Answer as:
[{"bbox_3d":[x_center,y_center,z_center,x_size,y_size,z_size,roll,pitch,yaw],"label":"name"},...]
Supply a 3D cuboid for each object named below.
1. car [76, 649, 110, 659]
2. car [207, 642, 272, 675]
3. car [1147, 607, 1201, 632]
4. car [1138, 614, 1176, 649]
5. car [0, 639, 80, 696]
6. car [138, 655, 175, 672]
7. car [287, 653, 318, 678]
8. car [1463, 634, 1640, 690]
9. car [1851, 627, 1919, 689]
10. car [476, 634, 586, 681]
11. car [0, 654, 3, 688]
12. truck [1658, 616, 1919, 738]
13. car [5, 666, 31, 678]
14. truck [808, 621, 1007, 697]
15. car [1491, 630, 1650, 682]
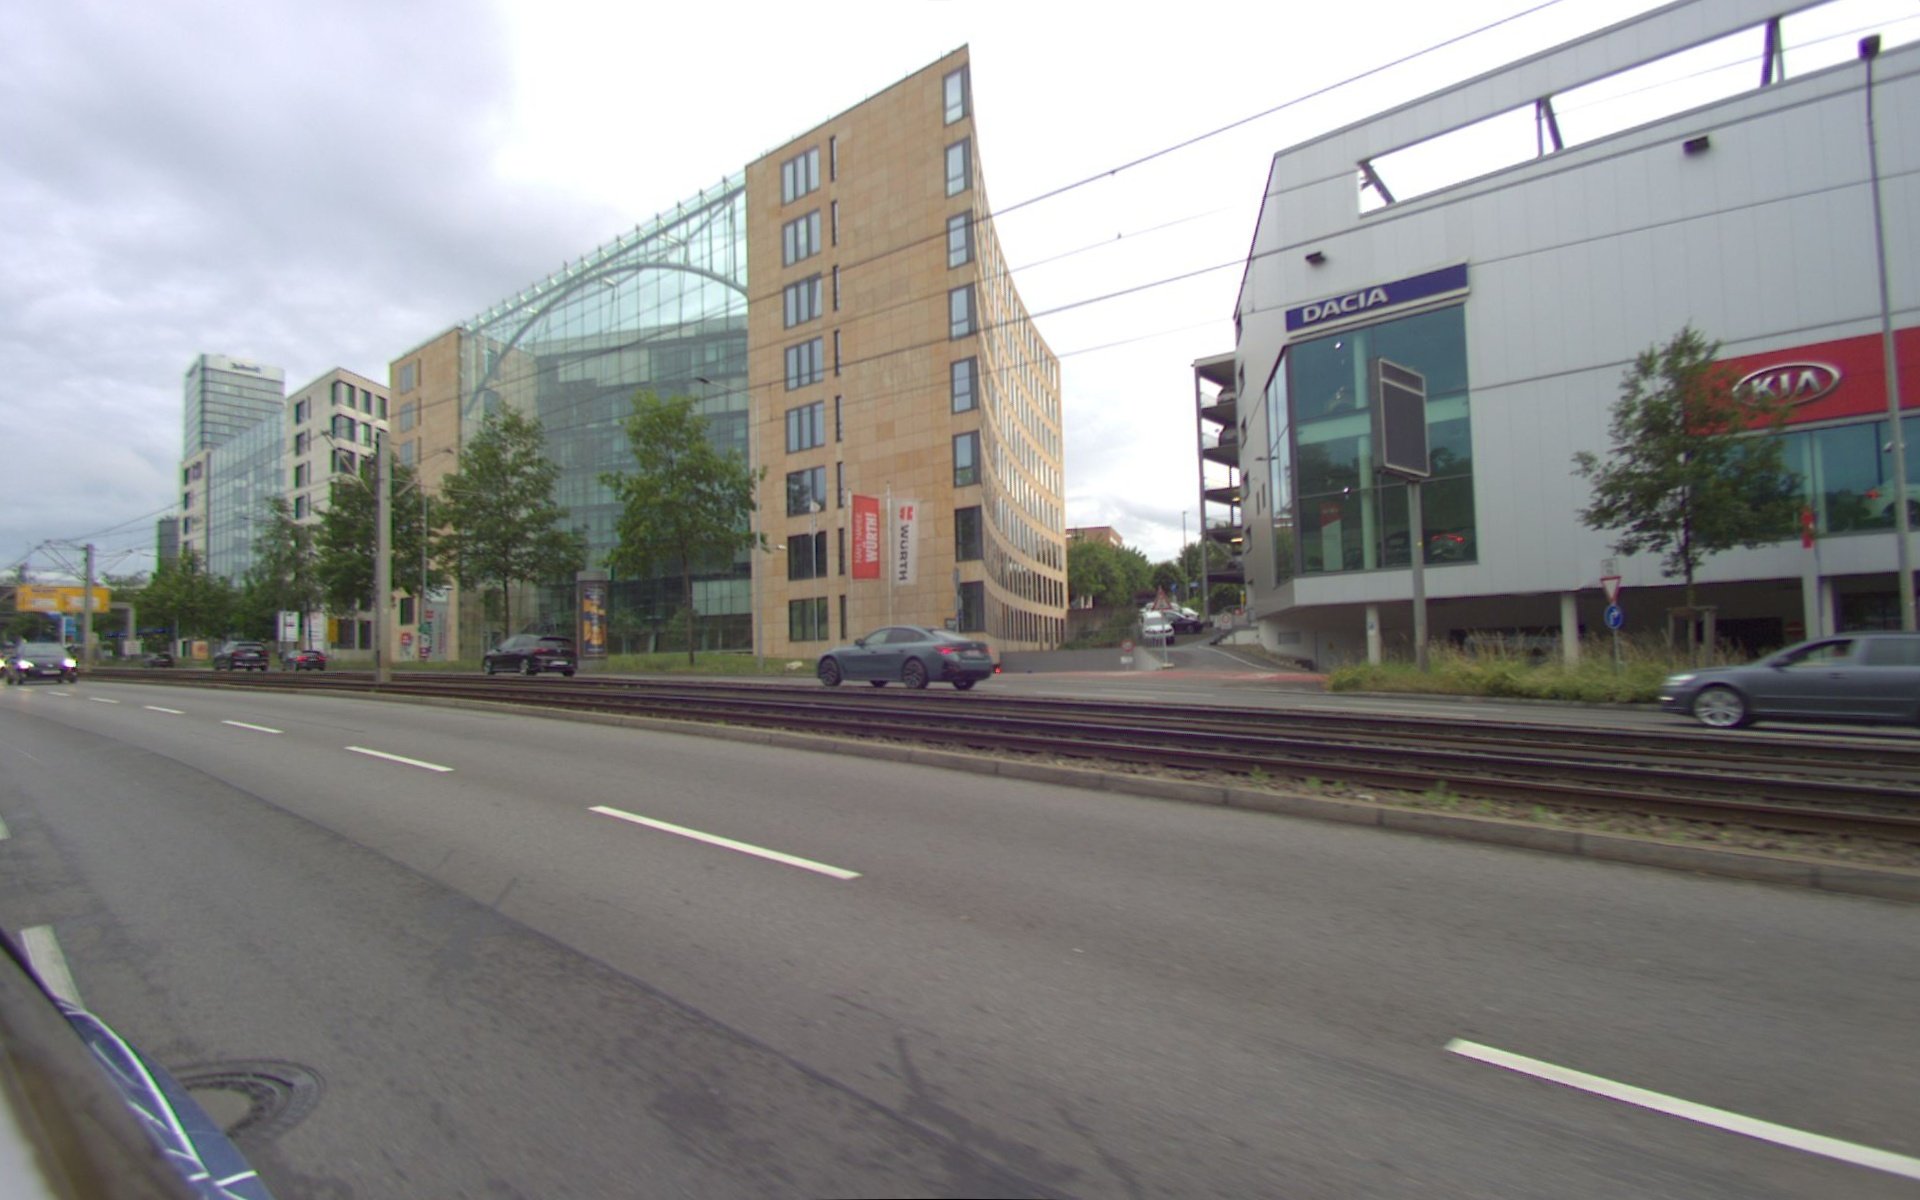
[{"bbox_3d":[-153.627,9.582,179.315,1.884,1.515,4.307,-1,-1,42],"label":"car"},{"bbox_3d":[-39.465,3.162,55.391,4.381,1.628,1.787,-1,-1,39],"label":"car"},{"bbox_3d":[16.225,1.489,76.836,3.958,1.776,1.876,1,0,12],"label":"car"},{"bbox_3d":[11.629,1.850,60.015,1.861,1.908,3.992,1,0,7],"label":"car"},{"bbox_3d":[-34.186,2.425,37.497,4.375,1.883,1.771,-1,-1,41],"label":"car"},{"bbox_3d":[-76.637,6.097,96.504,4.426,1.497,1.822,-4,-7,40],"label":"car"},{"bbox_3d":[-44.205,4.367,68.072,1.645,1.473,4.250,0,-1,-33],"label":"car"},{"bbox_3d":[20.209,2.071,34.697,4.937,1.738,1.973,-2,-1,41],"label":"car"},{"bbox_3d":[31.974,1.856,32.444,4.935,1.925,1.974,-2,-1,39],"label":"car"},{"bbox_3d":[-14.716,1.955,34.631,4.234,1.473,1.651,-1,-4,39],"label":"car"},{"bbox_3d":[-47.193,3.377,48.323,4.375,1.556,1.771,-1,-1,41],"label":"car"},{"bbox_3d":[12.814,1.052,14.293,1.918,1.580,4.550,3,-3,-42],"label":"truck"},{"bbox_3d":[-119.870,9.156,128.792,4.650,1.497,1.822,-4,-7,40],"label":"car"},{"bbox_3d":[-1.303,1.304,23.475,4.592,1.580,1.921,-1,-3,42],"label":"truck"},{"bbox_3d":[23.215,2.113,38.589,4.935,1.805,1.974,-2,-1,39],"label":"car"}]
